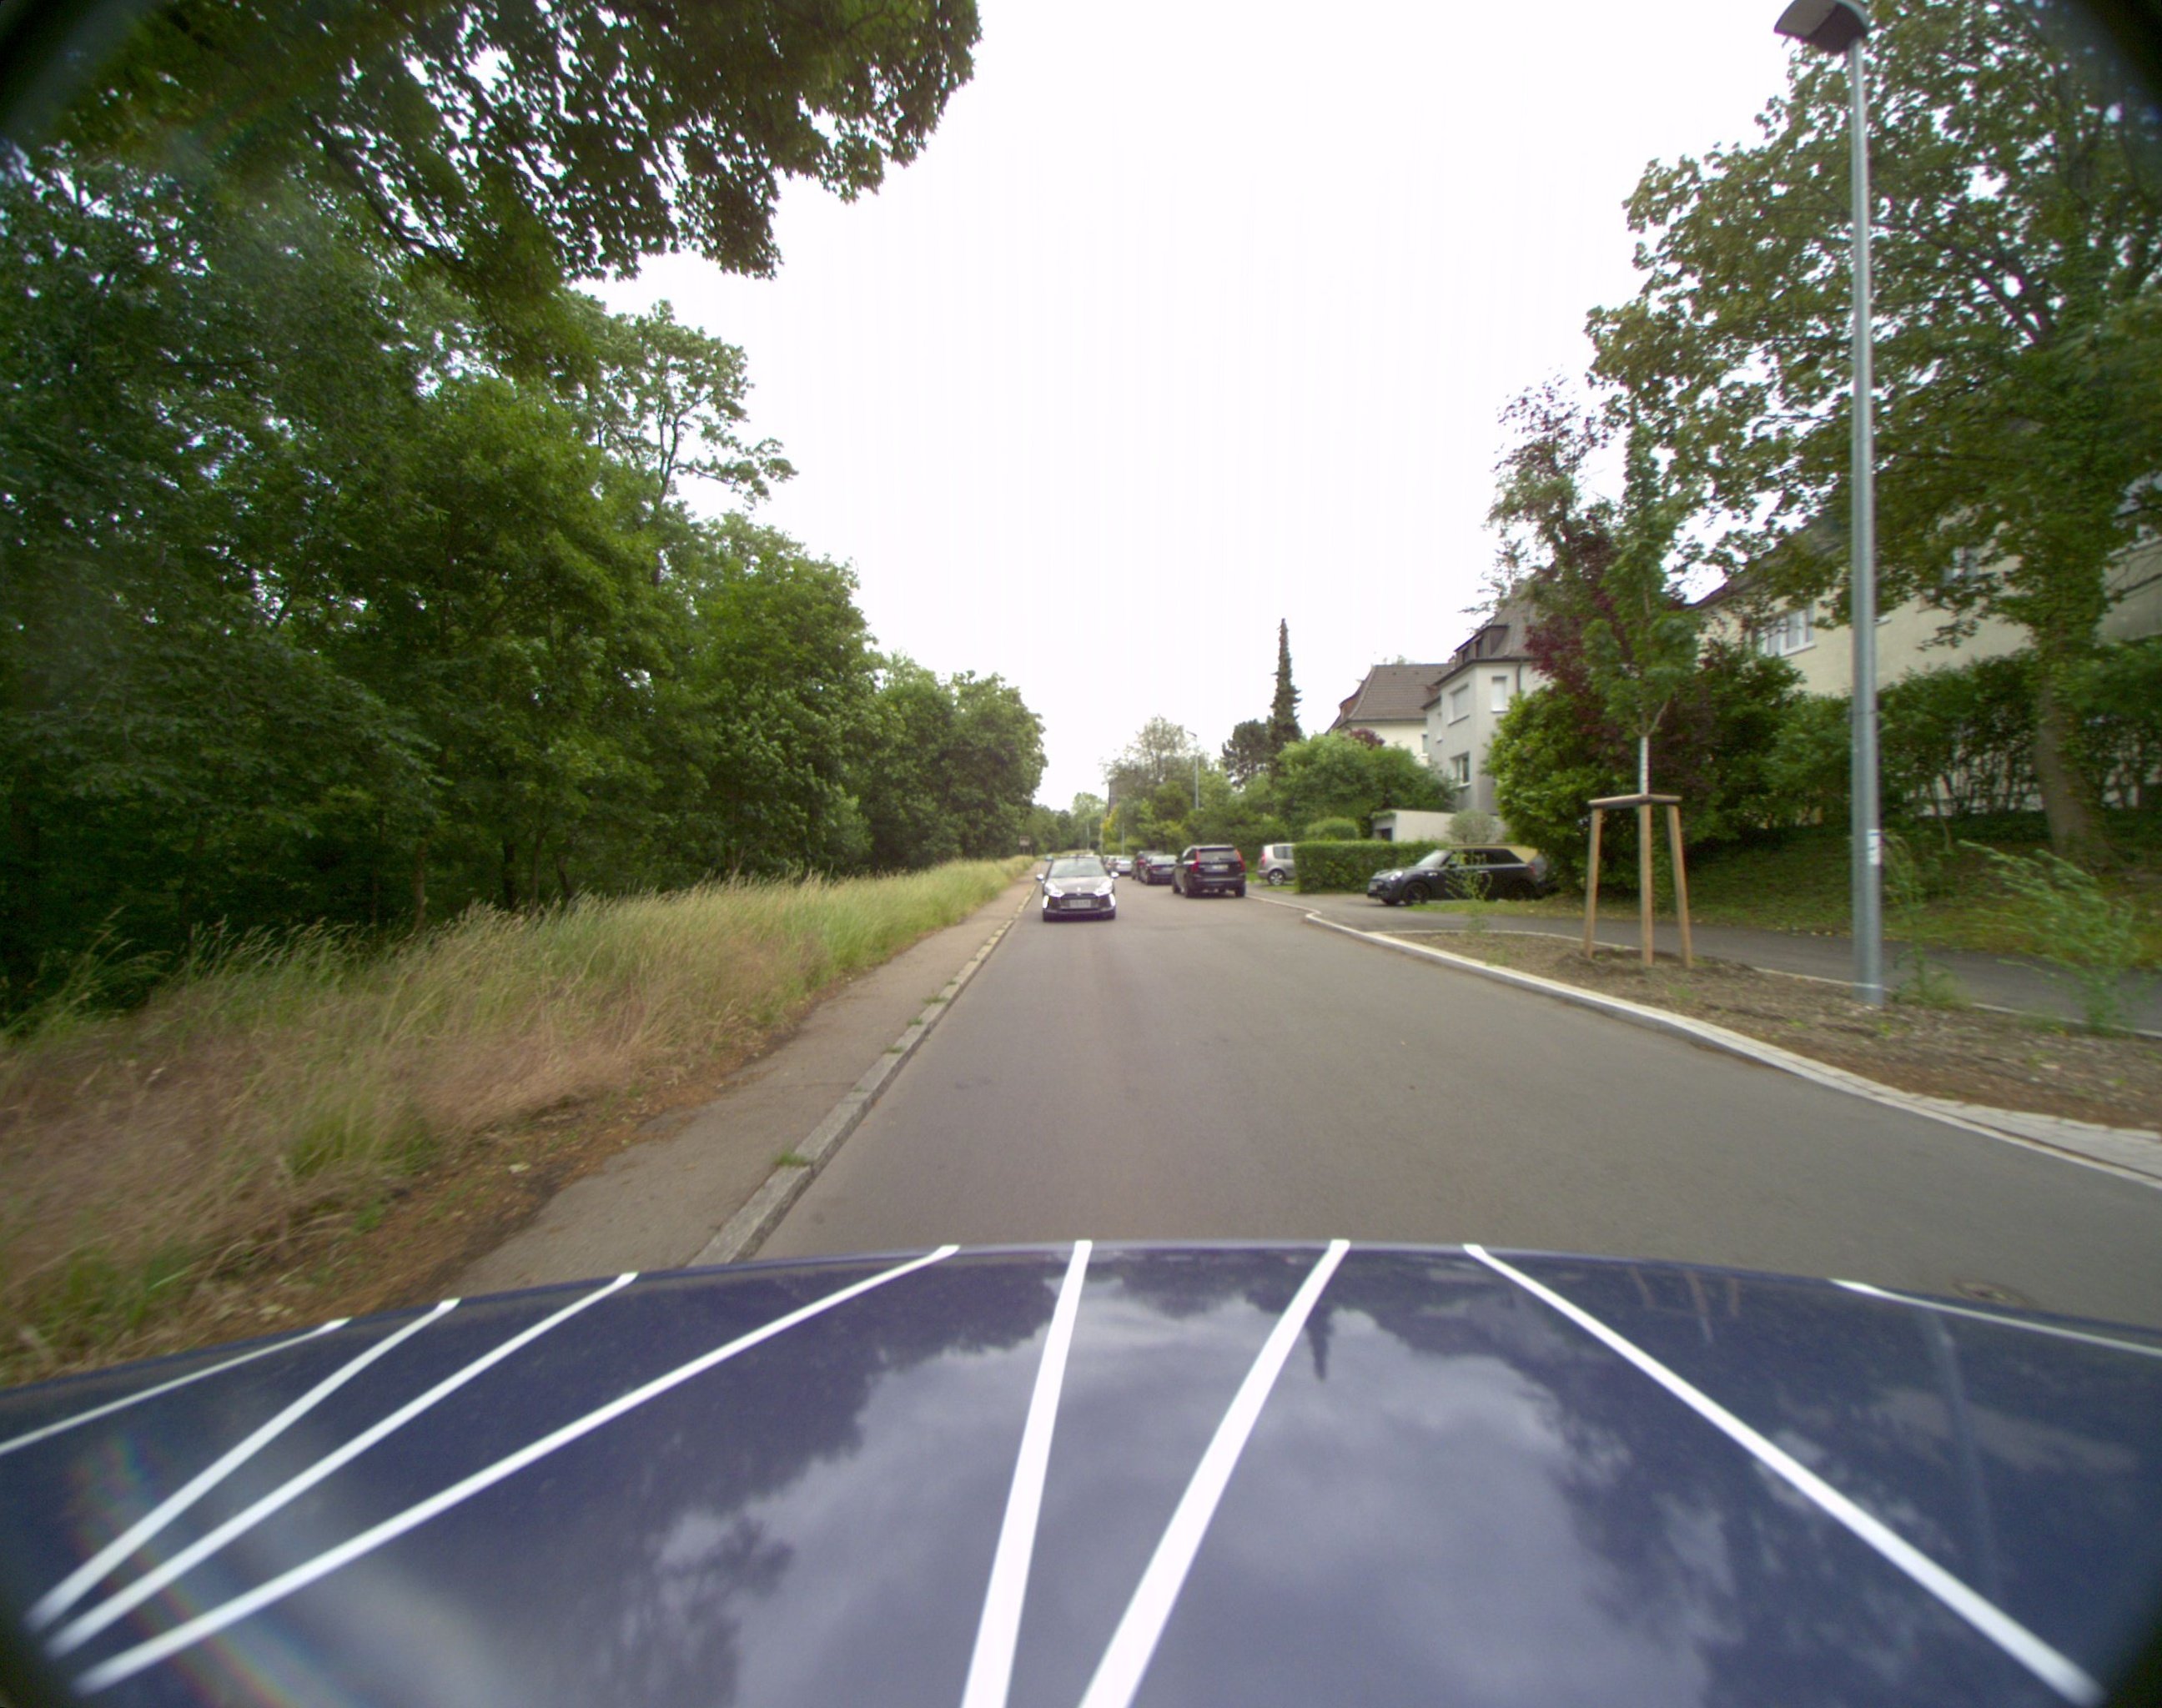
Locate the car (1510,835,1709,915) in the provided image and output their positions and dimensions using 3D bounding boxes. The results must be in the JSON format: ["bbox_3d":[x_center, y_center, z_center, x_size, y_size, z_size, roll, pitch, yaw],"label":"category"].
[{"bbox_3d":[13.211,0.492,19.200,3.555,1.783,2.010,2,0,4],"label":"car"}]

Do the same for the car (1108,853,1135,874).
[{"bbox_3d":[2.919,0.671,54.818,1.627,1.441,4.092,0,0,-2],"label":"car"}]

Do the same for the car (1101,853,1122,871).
[{"bbox_3d":[2.574,0.649,65.395,1.627,1.441,3.968,0,0,-1],"label":"car"}]

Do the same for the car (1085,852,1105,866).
[{"bbox_3d":[1.580,0.558,85.585,1.783,1.423,5.103,-1,0,-4],"label":"car"}]

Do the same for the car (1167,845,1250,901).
[{"bbox_3d":[4.317,0.584,26.541,1.979,1.726,5.189,-2,0,0],"label":"car"}]

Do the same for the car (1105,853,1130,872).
[{"bbox_3d":[2.850,0.683,60.684,1.664,1.444,4.380,0,0,-2],"label":"car"}]

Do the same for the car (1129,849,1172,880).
[{"bbox_3d":[3.825,0.558,42.705,1.736,1.623,4.567,-2,0,-3],"label":"car"}]

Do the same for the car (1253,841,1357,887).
[{"bbox_3d":[8.641,0.382,29.587,3.698,1.628,1.829,-2,1,11],"label":"car"}]

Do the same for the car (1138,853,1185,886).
[{"bbox_3d":[3.887,0.708,37.256,1.758,1.404,4.898,-2,0,0],"label":"car"}]

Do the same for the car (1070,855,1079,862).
[{"bbox_3d":[-1.333,0.883,154.011,1.647,1.461,4.071,1,0,0],"label":"car"}]

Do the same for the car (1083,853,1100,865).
[{"bbox_3d":[1.236,0.545,92.064,1.629,1.423,4.349,0,0,-4],"label":"car"}]

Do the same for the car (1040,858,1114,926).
[{"bbox_3d":[-0.011,0.839,18.763,1.619,1.460,4.001,-1,0,2],"label":"car"}]

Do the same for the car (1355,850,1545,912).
[{"bbox_3d":[9.027,0.652,18.832,3.832,1.377,1.778,-1,-1,1],"label":"car"}]
